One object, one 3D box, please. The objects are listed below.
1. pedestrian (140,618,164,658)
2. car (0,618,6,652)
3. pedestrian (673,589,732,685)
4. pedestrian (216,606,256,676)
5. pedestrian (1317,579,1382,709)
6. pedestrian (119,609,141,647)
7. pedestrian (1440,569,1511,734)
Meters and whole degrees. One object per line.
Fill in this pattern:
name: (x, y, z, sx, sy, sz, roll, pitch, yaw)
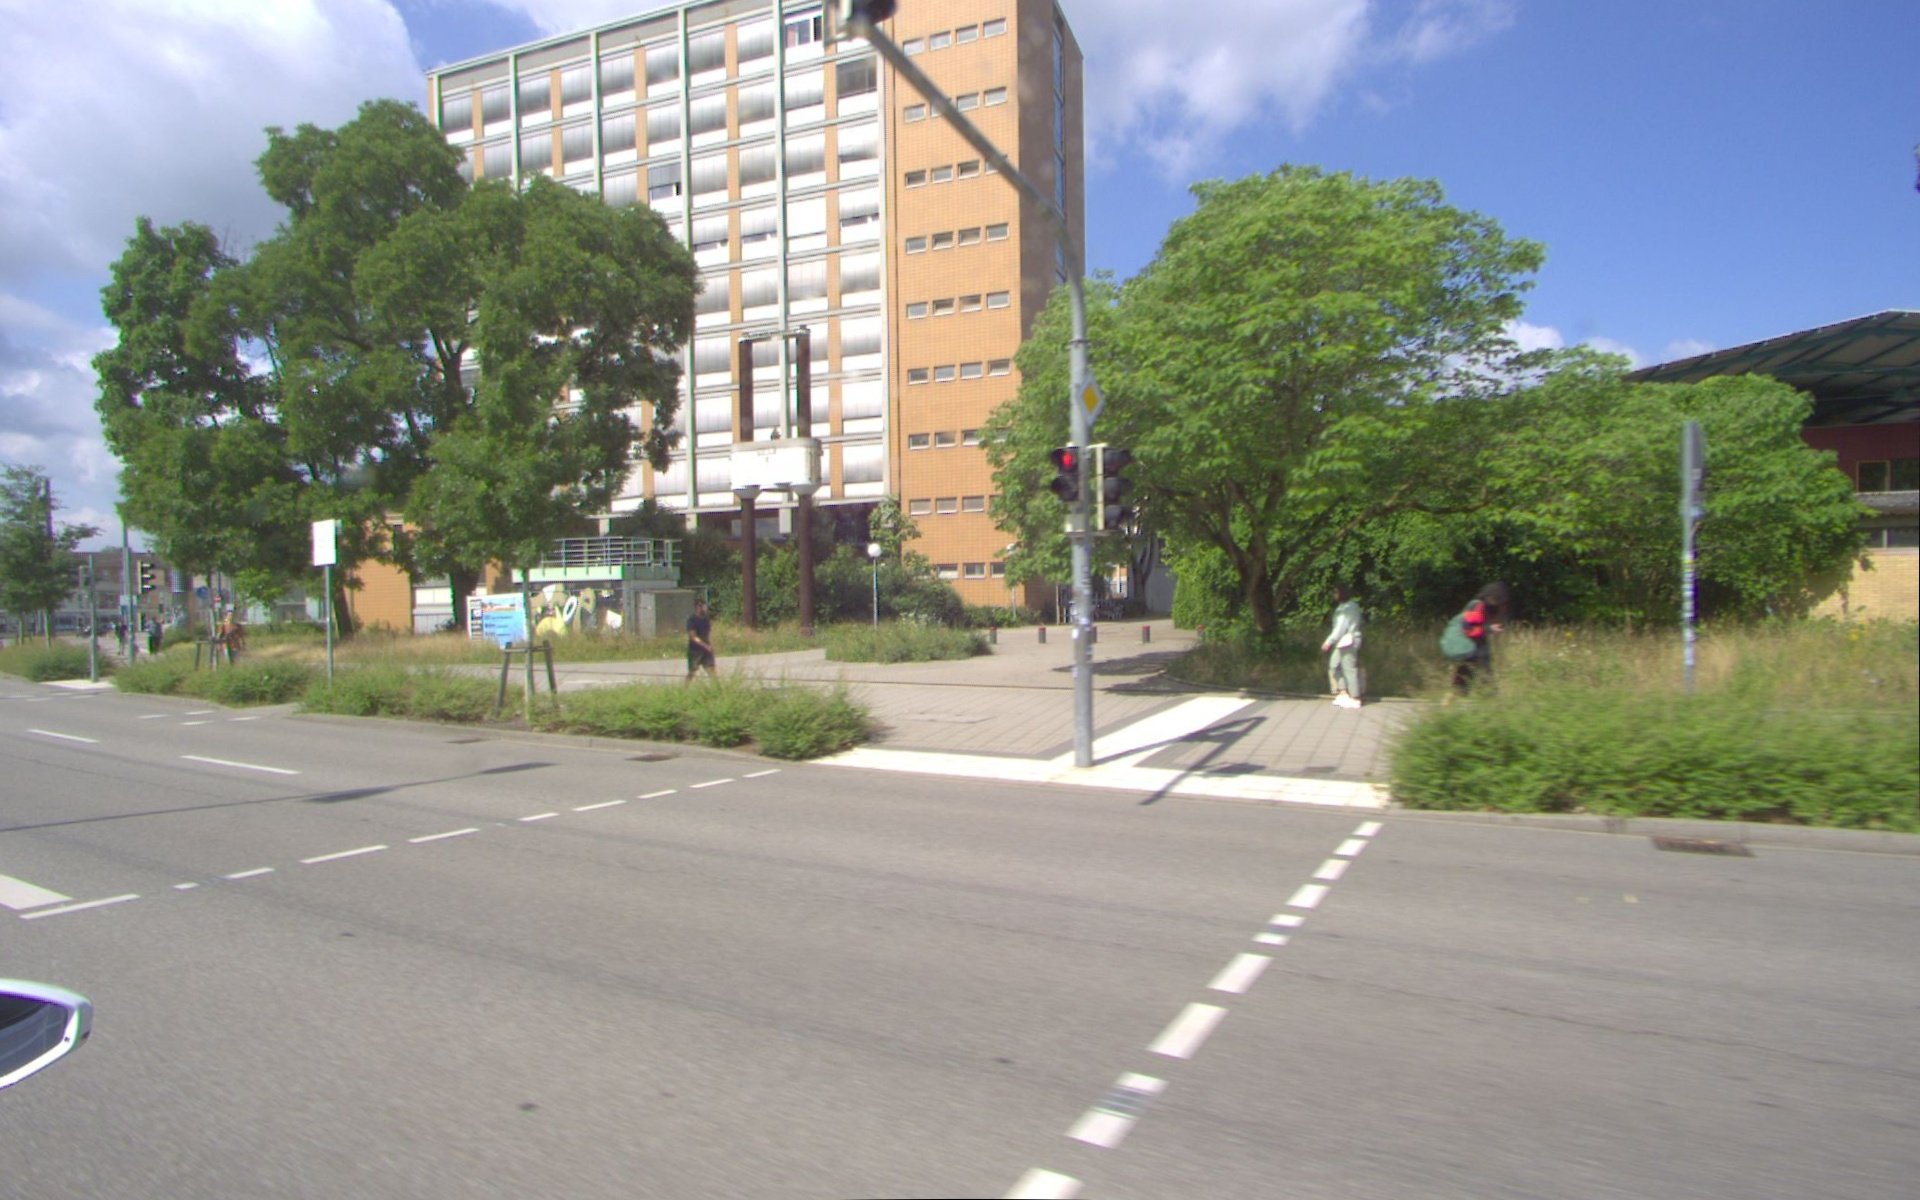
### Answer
pedestrian: (-36.721, 1.724, 45.523, 0.782, 1.807, 0.661, -1, 0, -43)
car: (-52.091, 1.870, 52.896, 1.976, 1.818, 3.969, -1, 0, -38)
pedestrian: (-4.199, 0.599, 16.354, 0.544, 1.528, 0.769, 0, 0, 31)
pedestrian: (-18.667, 1.043, 25.822, 0.570, 1.756, 0.658, 0, 0, 34)
pedestrian: (5.202, 0.574, 13.349, 0.709, 1.660, 0.867, -1, 0, 27)
pedestrian: (-40.100, 1.329, 48.386, 0.782, 1.807, 0.661, -1, 0, -41)
pedestrian: (5.749, 0.557, 11.150, 0.668, 1.758, 0.741, 0, 0, 29)
